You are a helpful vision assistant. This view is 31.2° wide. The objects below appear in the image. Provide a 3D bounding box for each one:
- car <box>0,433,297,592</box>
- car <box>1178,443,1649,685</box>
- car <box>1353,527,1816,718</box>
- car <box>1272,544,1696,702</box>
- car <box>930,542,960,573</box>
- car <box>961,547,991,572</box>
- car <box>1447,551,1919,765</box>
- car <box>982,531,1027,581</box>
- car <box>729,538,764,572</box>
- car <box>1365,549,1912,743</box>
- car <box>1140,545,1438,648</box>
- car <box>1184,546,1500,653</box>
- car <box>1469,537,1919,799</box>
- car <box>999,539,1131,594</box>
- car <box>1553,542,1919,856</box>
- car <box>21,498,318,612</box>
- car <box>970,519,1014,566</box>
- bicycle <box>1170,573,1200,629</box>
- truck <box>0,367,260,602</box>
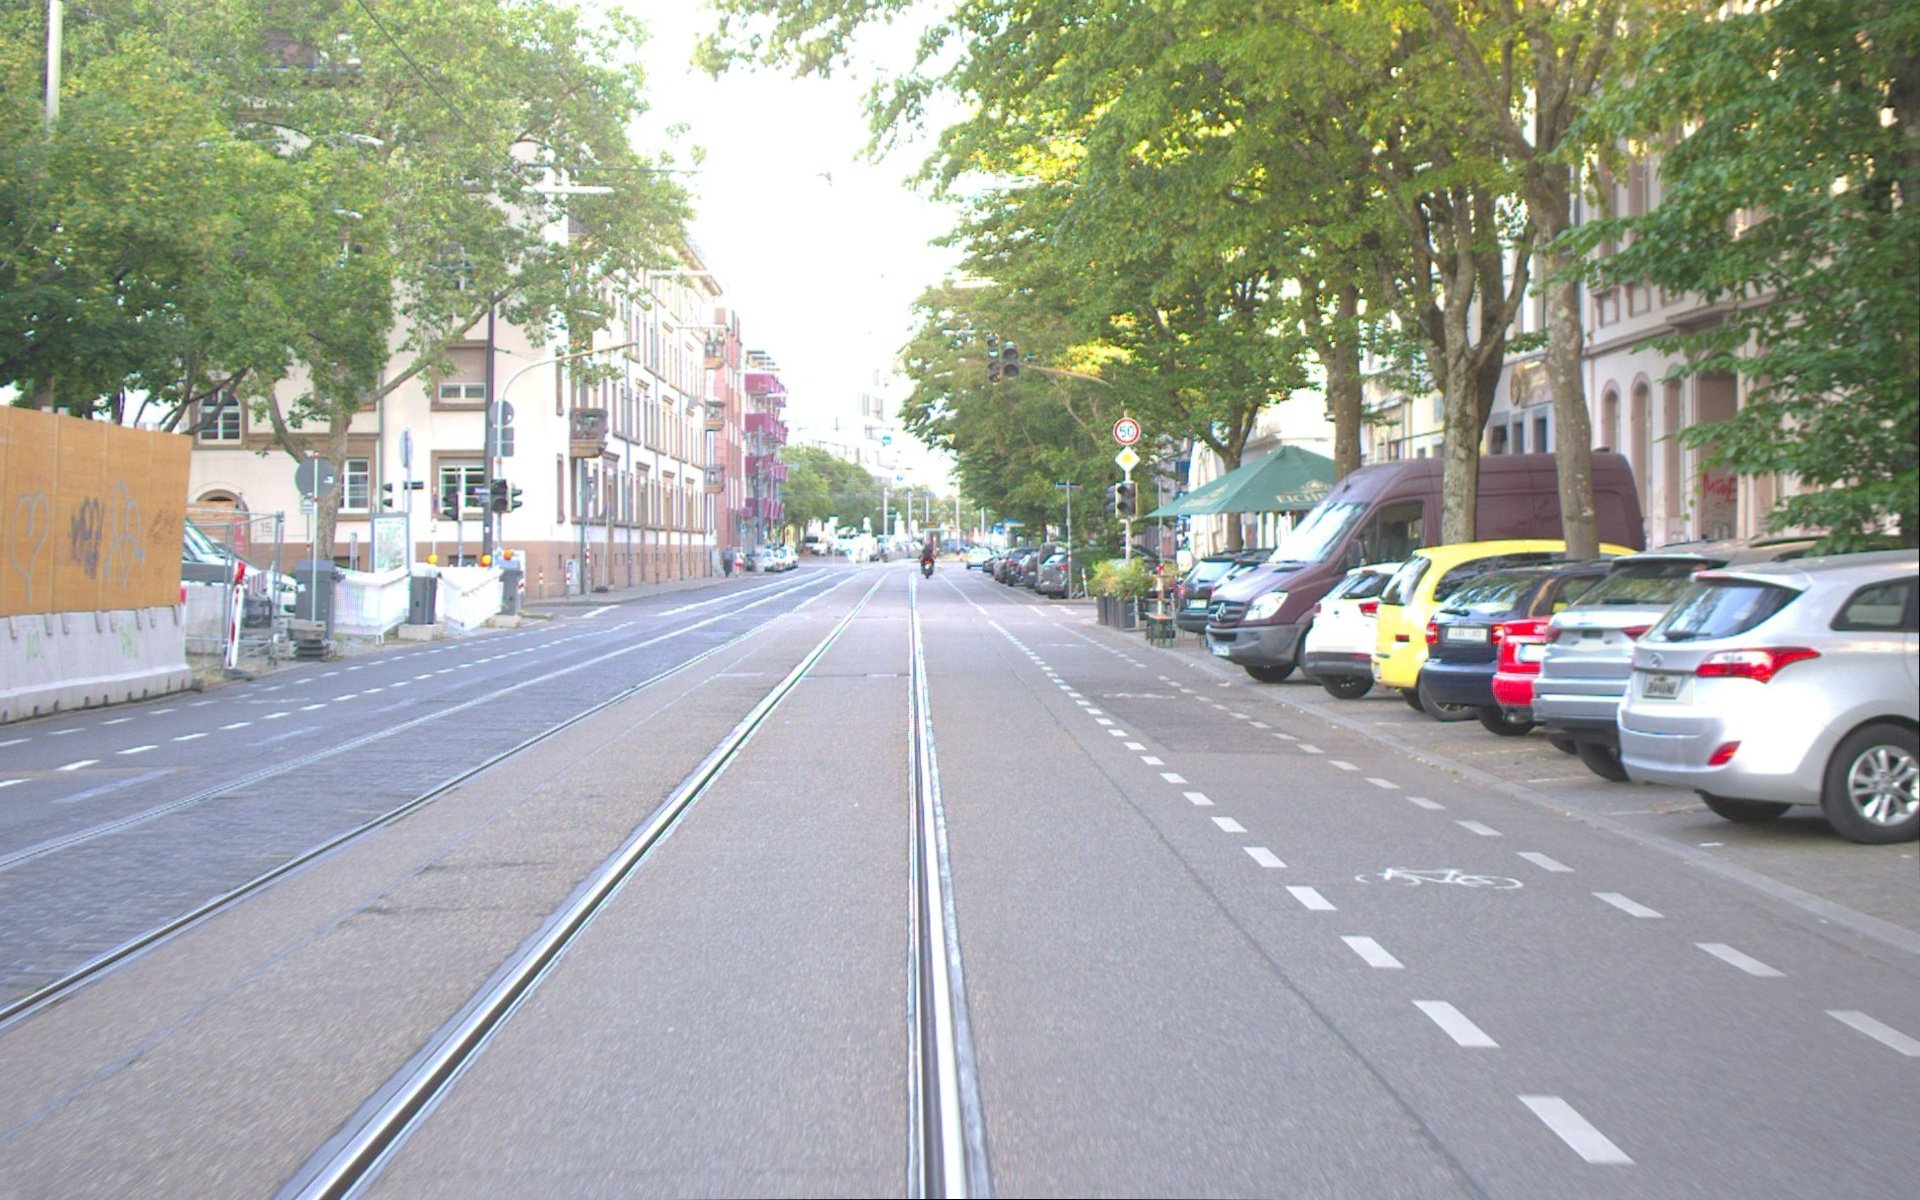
[{"bbox_3d":[-14.412,-1.528,59.586,5.399,2.549,2.227,2,1,-3],"label":"car"},{"bbox_3d":[5.370,-0.442,40.826,5.093,2.633,2.022,-2,1,-17],"label":"car"},{"bbox_3d":[5.790,0.199,32.230,3.950,1.614,1.921,-2,0,0],"label":"car"},{"bbox_3d":[5.493,0.226,36.069,3.950,1.481,1.921,-2,0,-24],"label":"car"},{"bbox_3d":[-1.005,-2.838,227.907,1.898,2.007,4.000,1,1,-1],"label":"car"},{"bbox_3d":[1.102,-2.808,239.116,1.963,1.713,4.000,1,1,-1],"label":"car"},{"bbox_3d":[5.930,0.382,25.764,4.120,1.420,1.898,-2,0,-26],"label":"car"},{"bbox_3d":[1.817,-1.817,141.421,1.721,2.007,4.000,1,1,-1],"label":"car"},{"bbox_3d":[-12.914,-2.712,208.365,1.898,2.007,4.000,1,1,-1],"label":"car"},{"bbox_3d":[5.680,0.355,28.771,4.120,1.420,1.921,-2,0,-26],"label":"car"},{"bbox_3d":[5.156,-0.060,53.832,4.174,1.493,2.009,-1,0,-25],"label":"car"},{"bbox_3d":[5.650,-0.018,50.970,4.174,1.457,2.009,-1,0,-16],"label":"car"},{"bbox_3d":[5.724,0.382,22.766,4.249,1.555,1.898,-2,0,-23],"label":"car"},{"bbox_3d":[3.128,-1.003,103.213,3.887,1.587,1.861,1,1,1],"label":"car"},{"bbox_3d":[5.641,0.451,18.796,4.249,1.543,2.020,-2,1,-11],"label":"car"},{"bbox_3d":[-15.006,-0.868,65.462,5.027,1.938,2.227,2,1,4],"label":"car"},{"bbox_3d":[1.368,-2.492,148.983,1.804,2.007,4.000,1,1,-1],"label":"car"},{"bbox_3d":[4.235,0.008,64.708,0.418,1.012,1.830,1,1,-1],"label":"bicycle"},{"bbox_3d":[-14.725,-1.859,53.708,7.056,3.469,2.542,2,1,-4],"label":"truck"}]
